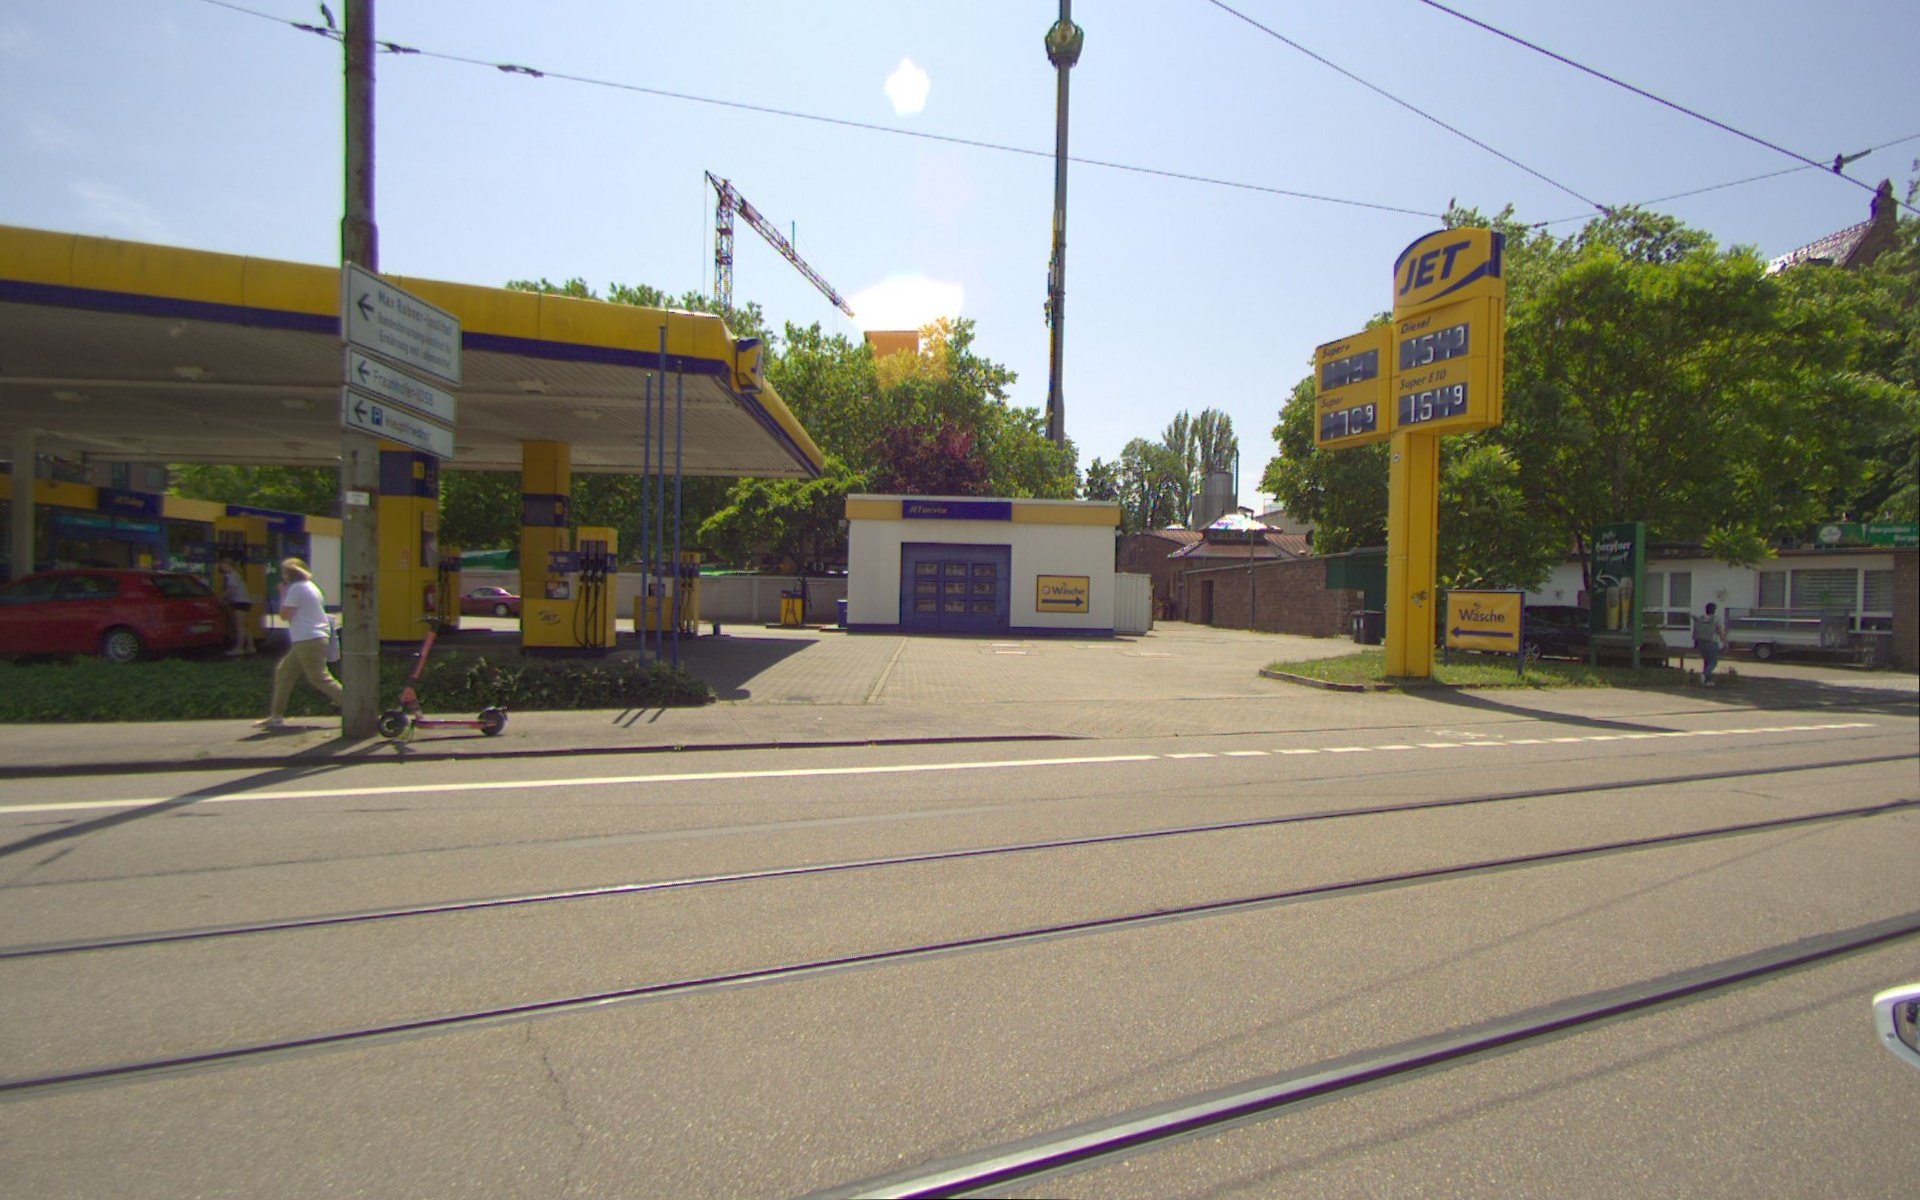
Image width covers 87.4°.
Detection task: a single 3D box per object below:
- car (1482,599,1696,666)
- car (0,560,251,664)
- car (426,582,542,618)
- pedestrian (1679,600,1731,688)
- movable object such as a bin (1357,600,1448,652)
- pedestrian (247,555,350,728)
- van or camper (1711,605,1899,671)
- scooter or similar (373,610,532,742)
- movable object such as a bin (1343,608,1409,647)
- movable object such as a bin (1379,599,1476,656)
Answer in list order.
[{"bbox_3d":[16.487,0.809,26.573,4.361,1.508,1.936,2,1,14],"label":"car"},{"bbox_3d":[-14.017,0.152,15.963,4.118,1.525,1.830,1,2,-3],"label":"car"},{"bbox_3d":[-20.623,0.001,43.612,4.156,1.429,1.720,2,0,0],"label":"car"},{"bbox_3d":[15.655,0.918,21.118,0.691,1.799,0.577,1,2,-30],"label":"pedestrian"},{"bbox_3d":[13.570,0.788,30.899,2.059,1.451,1.525,2,1,-2],"label":"movable object such as a bin"},{"bbox_3d":[-6.792,0.417,10.347,0.711,1.713,0.624,1,0,-18],"label":"pedestrian"},{"bbox_3d":[24.737,1.055,29.543,1.846,1.651,3.771,0,2,-26],"label":"van or camper"},{"bbox_3d":[-5.028,0.730,9.979,1.360,1.216,0.516,1,2,-29],"label":"scooter or similar"},{"bbox_3d":[13.671,0.889,33.040,1.534,1.153,1.408,2,1,-2],"label":"movable object such as a bin"},{"bbox_3d":[13.634,0.786,29.351,2.059,1.529,1.525,2,1,-2],"label":"movable object such as a bin"}]
